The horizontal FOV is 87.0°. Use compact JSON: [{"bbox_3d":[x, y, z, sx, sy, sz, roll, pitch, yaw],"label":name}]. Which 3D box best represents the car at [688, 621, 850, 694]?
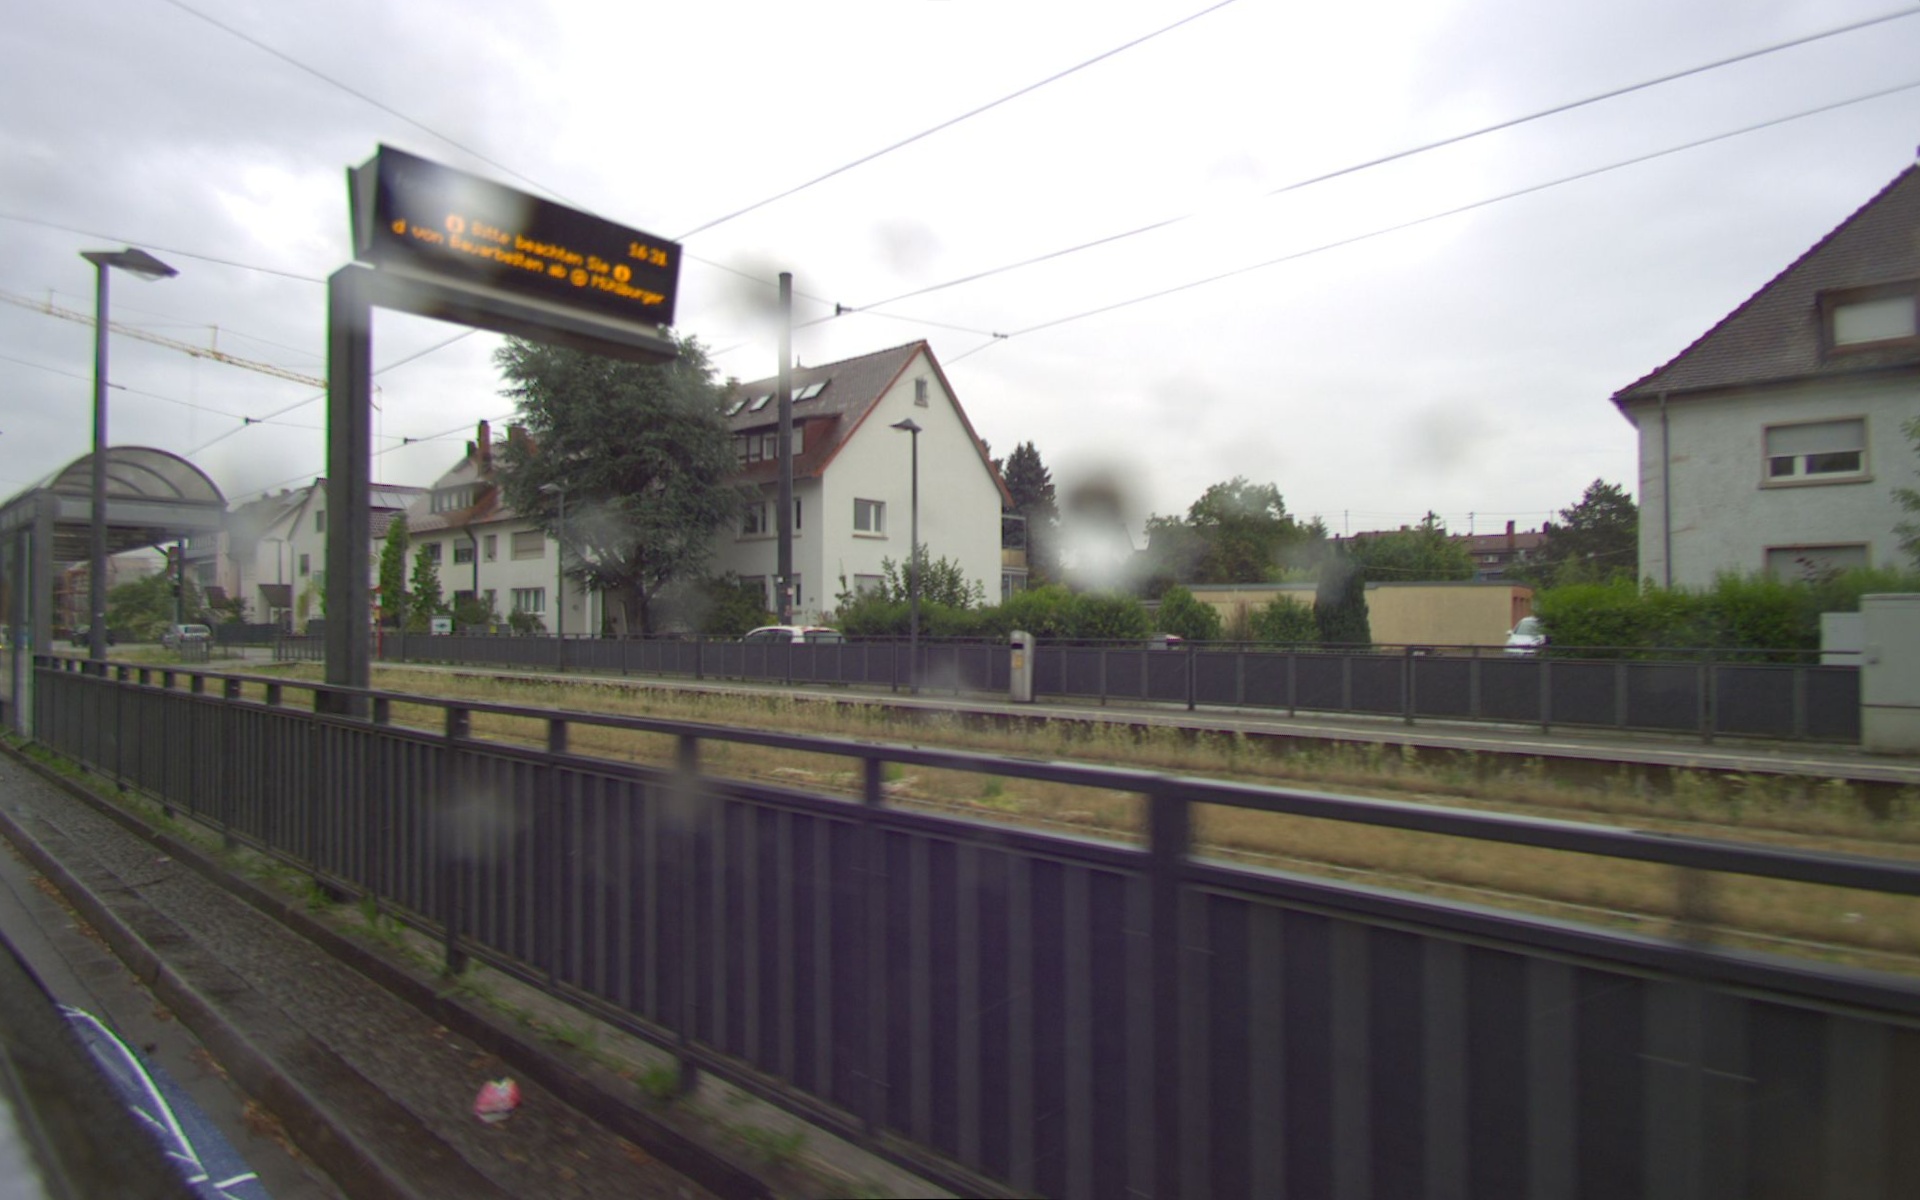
[{"bbox_3d":[-4.506,1.260,23.580,3.999,1.504,1.616,-1,0,42],"label":"car"}]

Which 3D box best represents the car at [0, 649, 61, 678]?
[{"bbox_3d":[-51.590,3.488,56.108,3.652,1.424,1.975,-1,0,37],"label":"car"}]

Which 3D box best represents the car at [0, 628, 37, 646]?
[{"bbox_3d":[-81.636,3.217,87.535,4.167,1.420,1.975,-3,-2,37],"label":"car"}]

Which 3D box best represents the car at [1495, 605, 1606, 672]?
[{"bbox_3d":[17.738,1.075,30.322,2.000,1.829,3.943,-1,0,44],"label":"car"}]

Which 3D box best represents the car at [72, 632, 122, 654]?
[{"bbox_3d":[-60.806,3.031,71.299,4.167,1.437,1.819,-2,-1,37],"label":"car"}]
